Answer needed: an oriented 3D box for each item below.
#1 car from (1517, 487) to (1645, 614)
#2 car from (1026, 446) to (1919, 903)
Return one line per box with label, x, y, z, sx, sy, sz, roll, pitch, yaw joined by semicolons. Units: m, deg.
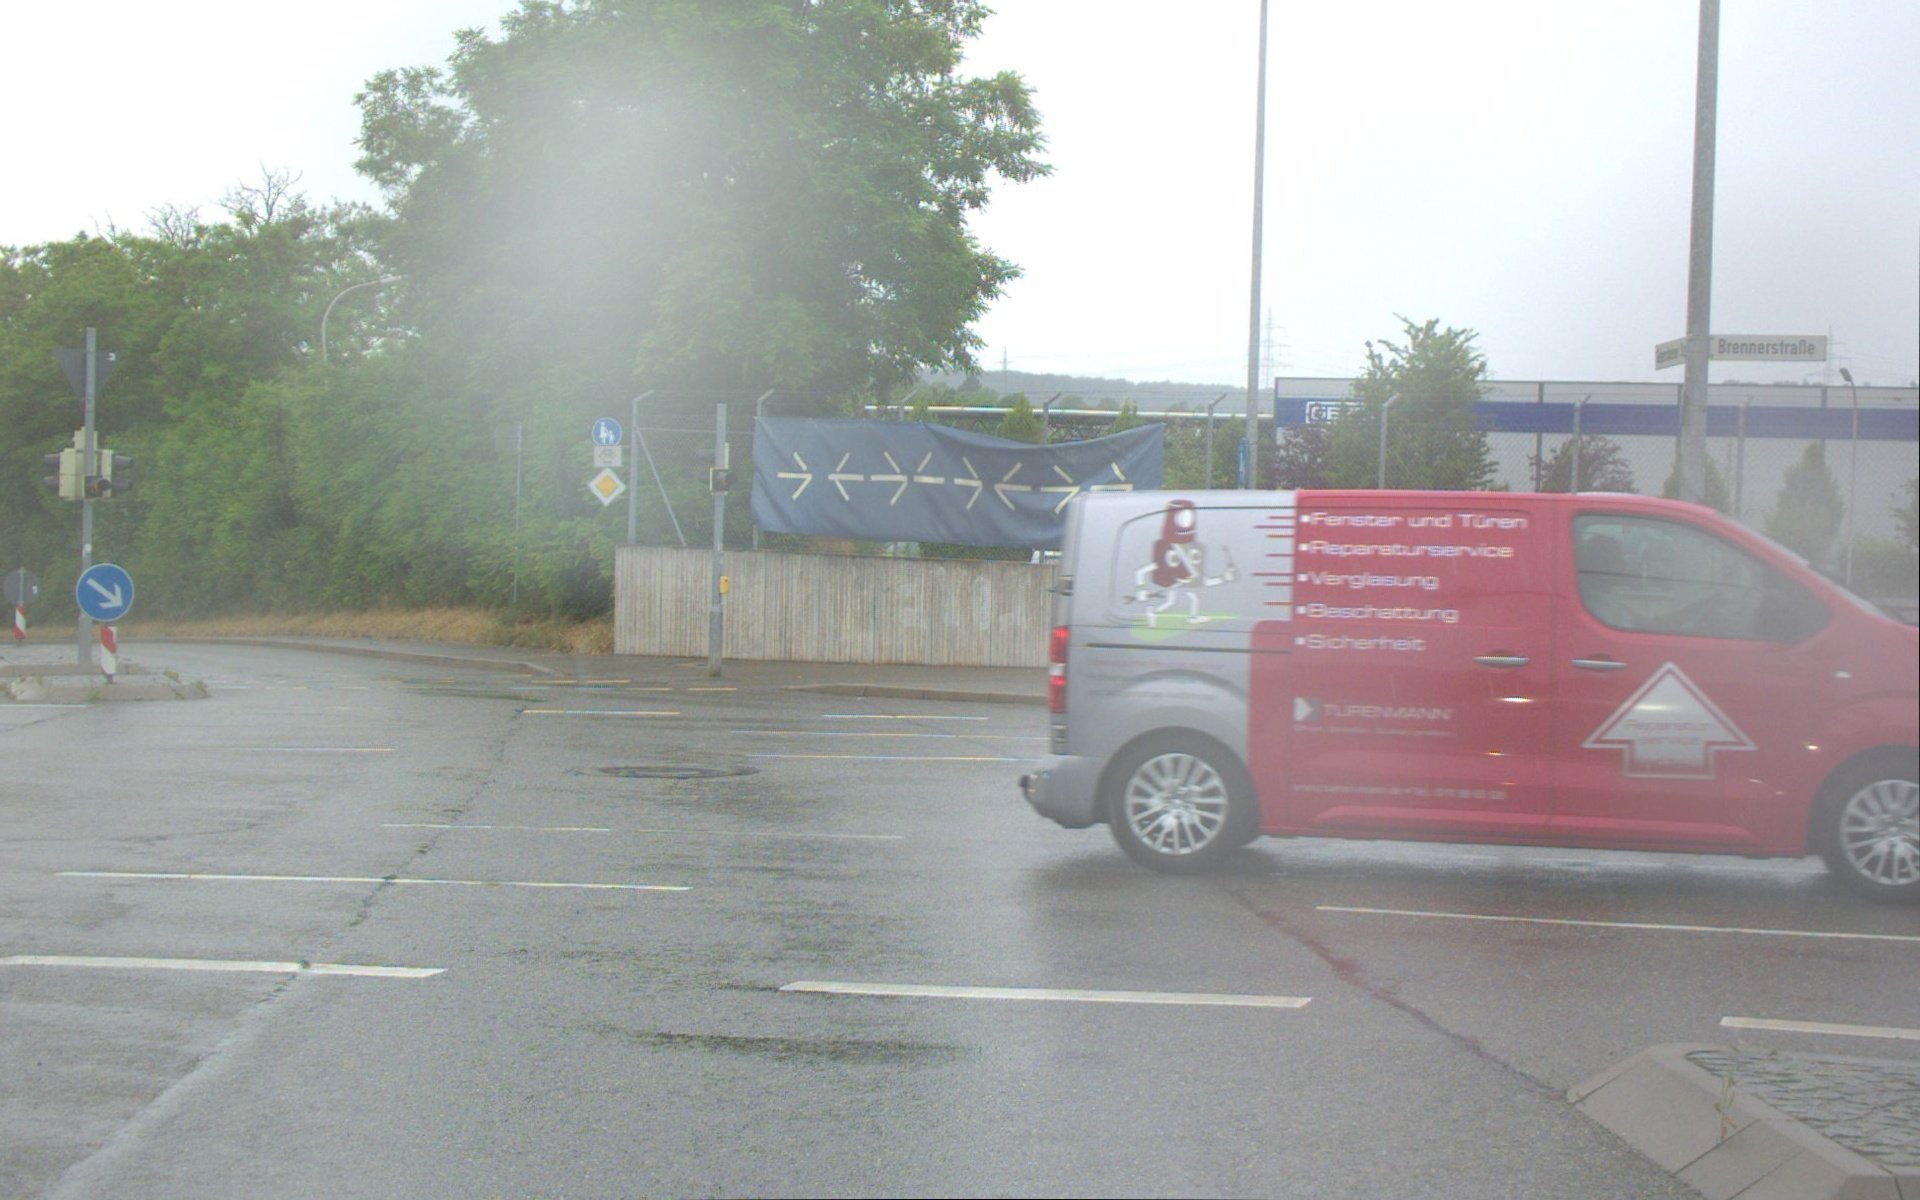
car;10.446;-0.837;57.705;1.994;2.007;3.998;1;1;11
car;2.862;0.303;16.644;4.774;2.007;1.999;1;1;12
